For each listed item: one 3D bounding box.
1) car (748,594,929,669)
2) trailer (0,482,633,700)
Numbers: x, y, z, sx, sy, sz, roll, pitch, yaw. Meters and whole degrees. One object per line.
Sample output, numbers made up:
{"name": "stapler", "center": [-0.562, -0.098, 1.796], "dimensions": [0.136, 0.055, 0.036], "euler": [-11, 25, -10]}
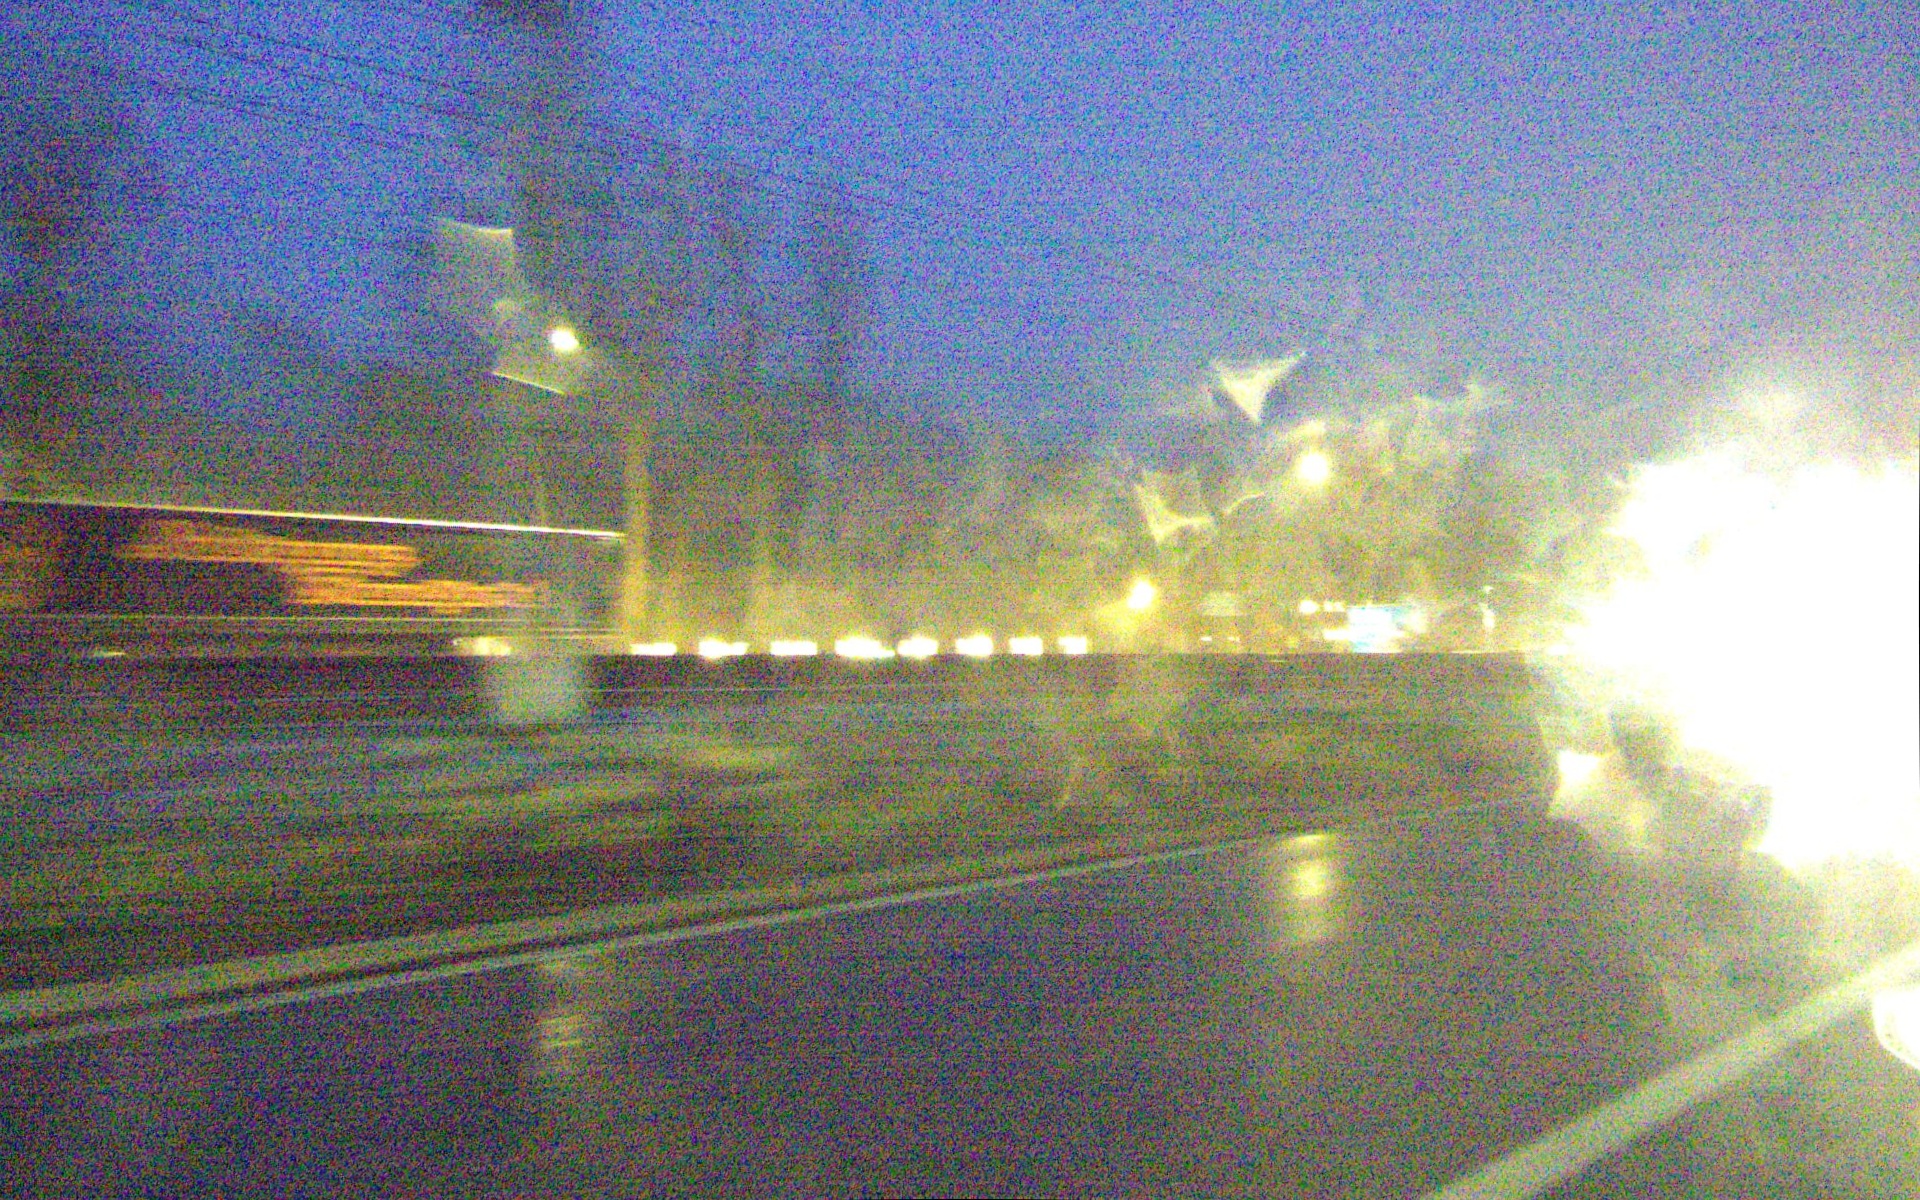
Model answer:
{"name": "car", "center": [-3.015, 0.760, 25.222], "dimensions": [4.176, 1.716, 1.775], "euler": [1, 0, -35]}
{"name": "trailer", "center": [-16.455, -0.034, 26.721], "dimensions": [14.100, 4.671, 3.946], "euler": [3, 1, -34]}
